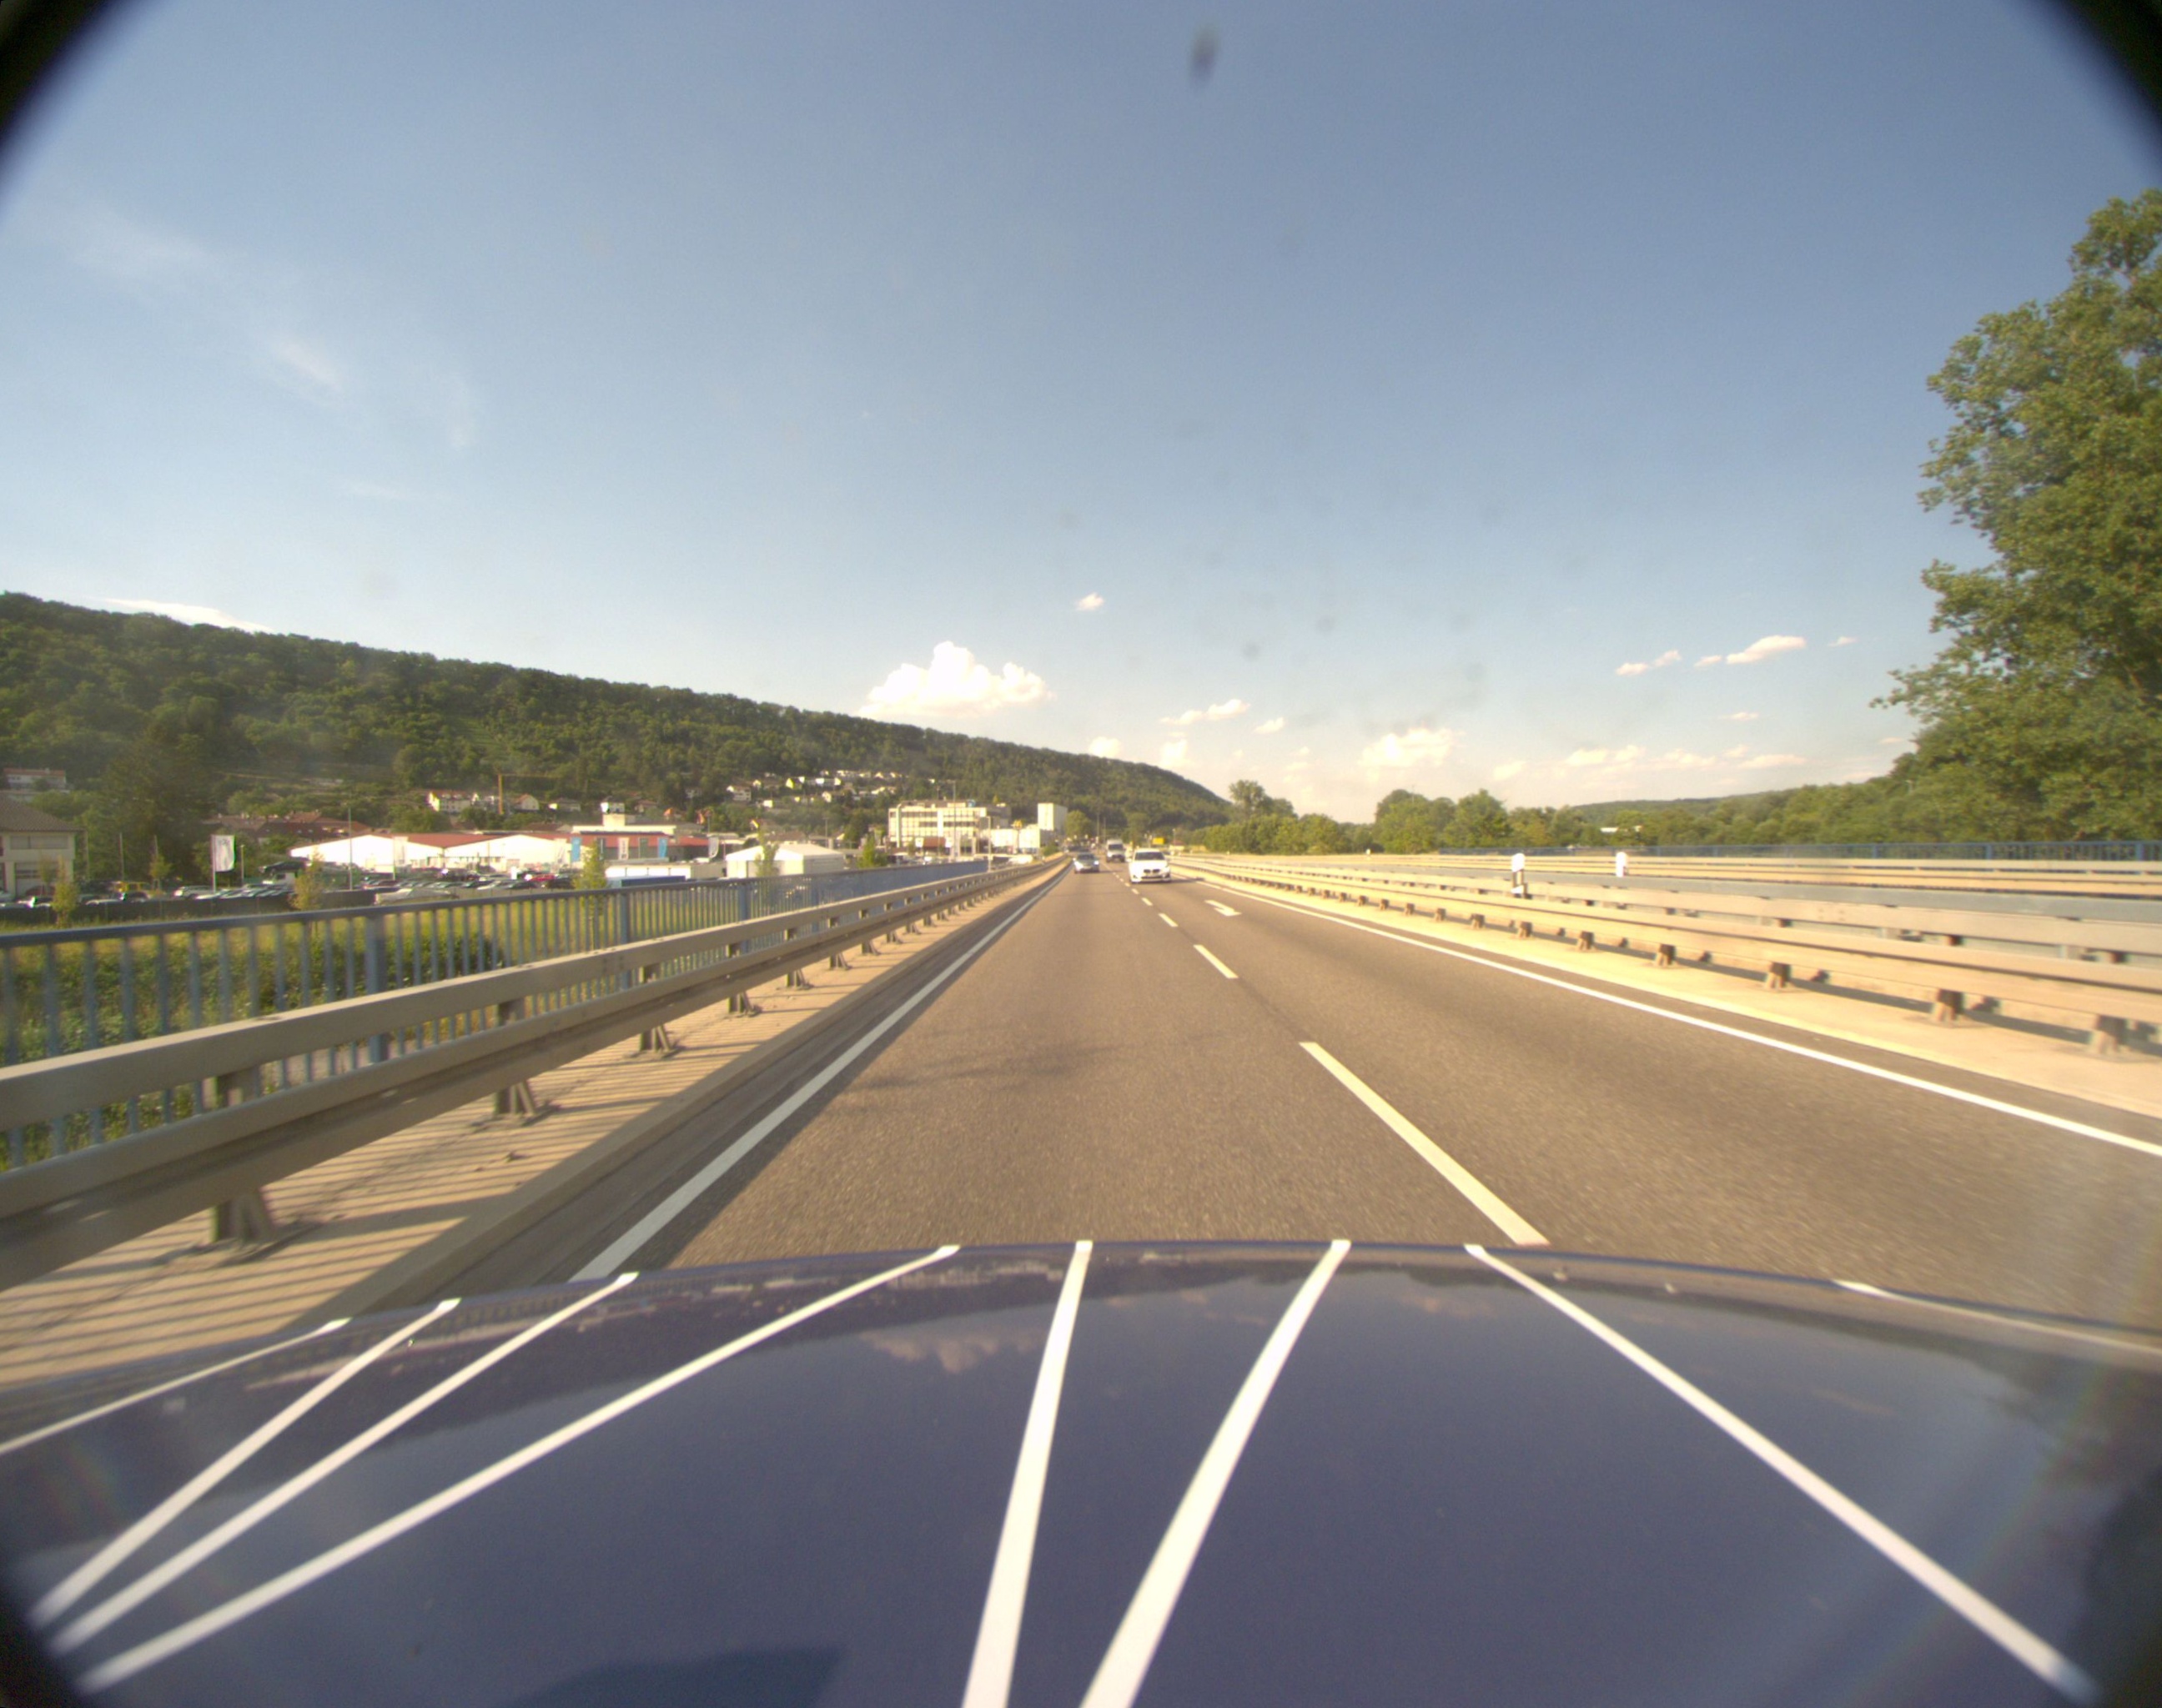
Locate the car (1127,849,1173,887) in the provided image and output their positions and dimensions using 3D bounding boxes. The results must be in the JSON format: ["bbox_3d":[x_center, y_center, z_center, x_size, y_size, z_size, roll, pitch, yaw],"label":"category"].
[{"bbox_3d":[3.151,0.608,35.406,1.825,1.552,3.999,-2,2,1],"label":"car"}]

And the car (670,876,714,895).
[{"bbox_3d":[-41.844,3.398,81.839,1.884,1.627,4.730,-2,2,5],"label":"car"}]

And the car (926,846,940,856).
[{"bbox_3d":[-35.509,-0.748,182.274,1.759,2.233,5.297,-2,2,4],"label":"car"}]

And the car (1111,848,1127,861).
[{"bbox_3d":[4.212,0.034,84.889,1.690,1.383,3.883,-1,2,1],"label":"car"}]

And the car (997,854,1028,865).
[{"bbox_3d":[-13.889,1.147,153.904,5.895,2.002,2.000,-2,2,3],"label":"car"}]

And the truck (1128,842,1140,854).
[{"bbox_3d":[15.799,-1.865,228.683,2.940,3.477,10.495,0,2,0],"label":"truck"}]

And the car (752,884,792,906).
[{"bbox_3d":[-28.963,3.790,71.380,1.779,1.674,4.000,-2,2,5],"label":"car"}]

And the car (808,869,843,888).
[{"bbox_3d":[-27.575,2.616,82.177,1.884,1.627,4.730,-2,2,4],"label":"car"}]

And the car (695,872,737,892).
[{"bbox_3d":[-34.580,2.594,72.179,1.709,1.594,4.000,-2,2,5],"label":"car"}]

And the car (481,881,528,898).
[{"bbox_3d":[-65.671,4.014,86.569,1.748,1.568,3.785,-1,2,23],"label":"car"}]

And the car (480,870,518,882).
[{"bbox_3d":[-86.939,3.260,113.492,1.586,1.494,4.233,-1,2,23],"label":"car"}]

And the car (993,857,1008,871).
[{"bbox_3d":[-11.304,1.376,106.500,1.885,1.617,4.726,-2,2,-4],"label":"car"}]

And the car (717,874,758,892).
[{"bbox_3d":[-37.639,3.117,83.373,1.884,1.627,4.730,-2,2,5],"label":"car"}]

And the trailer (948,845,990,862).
[{"bbox_3d":[-23.551,-0.123,159.898,7.896,3.304,3.358,-2,2,5],"label":"trailer"}]

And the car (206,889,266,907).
[{"bbox_3d":[-89.369,4.613,80.444,1.749,1.568,3.784,-1,2,21],"label":"car"}]

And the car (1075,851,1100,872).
[{"bbox_3d":[0.464,0.519,54.470,1.690,1.383,3.883,-1,2,1],"label":"car"}]

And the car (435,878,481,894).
[{"bbox_3d":[-73.707,3.790,89.899,1.748,1.568,3.785,-1,2,23],"label":"car"}]

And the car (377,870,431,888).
[{"bbox_3d":[-70.596,2.626,79.266,1.749,1.568,3.784,-2,2,17],"label":"car"}]

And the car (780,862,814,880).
[{"bbox_3d":[-30.601,1.845,82.076,1.778,1.674,4.000,-2,2,6],"label":"car"}]

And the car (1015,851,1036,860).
[{"bbox_3d":[-11.597,0.285,158.723,3.996,1.740,1.901,-2,2,2],"label":"car"}]

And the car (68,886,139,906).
[{"bbox_3d":[-94.222,4.033,73.287,1.749,1.568,3.784,-1,2,21],"label":"car"}]

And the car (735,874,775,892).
[{"bbox_3d":[-35.427,3.116,82.669,1.884,1.627,4.730,-2,2,5],"label":"car"}]
